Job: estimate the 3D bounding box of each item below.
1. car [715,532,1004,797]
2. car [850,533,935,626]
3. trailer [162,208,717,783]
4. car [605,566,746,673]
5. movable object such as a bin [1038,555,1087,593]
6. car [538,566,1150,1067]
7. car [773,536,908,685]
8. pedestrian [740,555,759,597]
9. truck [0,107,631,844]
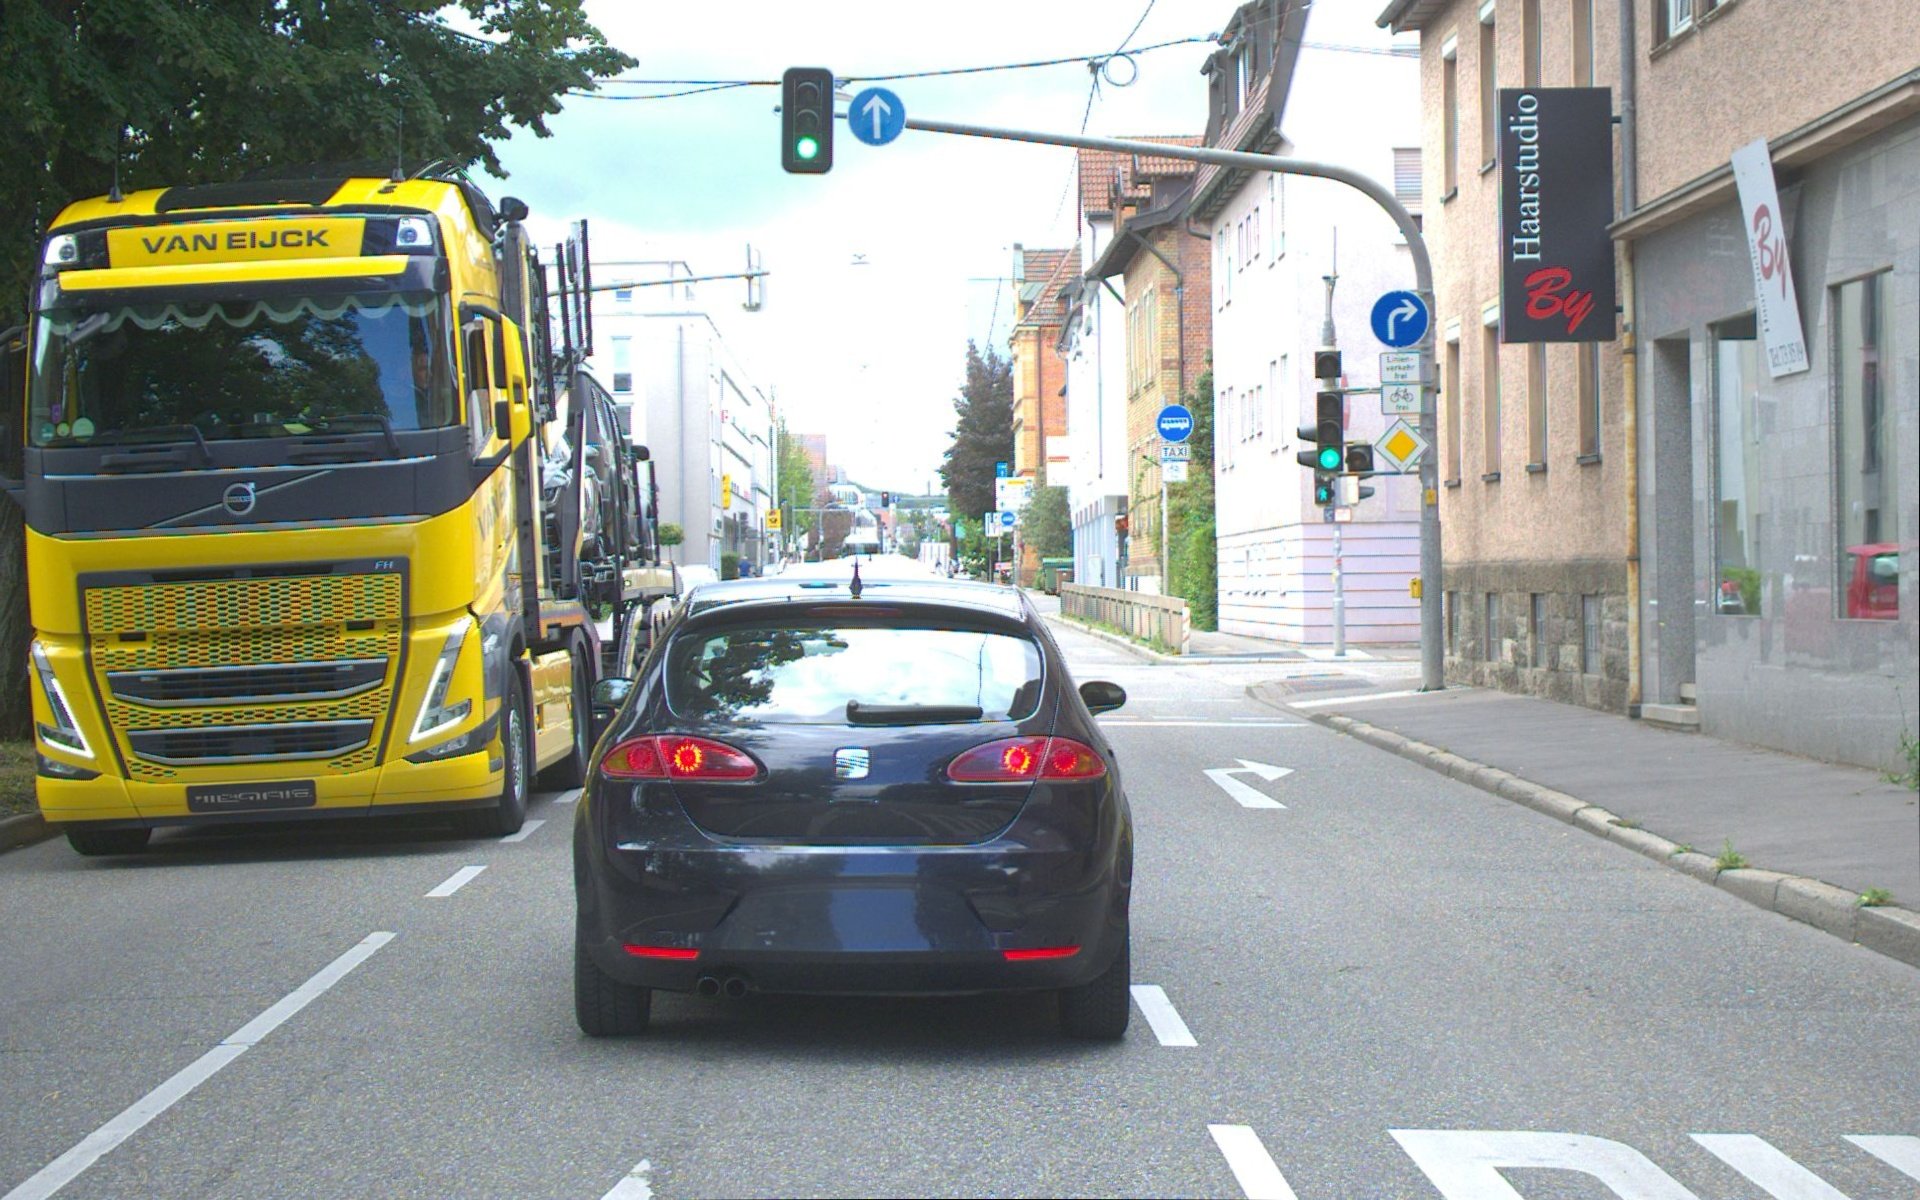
[{"bbox_3d":[-0.691,0.404,24.022,1.842,1.687,4.000,0,0,-1],"label":"car"},{"bbox_3d":[-1.277,-0.384,64.770,1.531,1.687,3.693,0,0,-1],"label":"car"},{"bbox_3d":[-3.963,-0.720,30.030,2.858,3.795,14.392,0,0,-1],"label":"trailer"},{"bbox_3d":[-4.308,0.274,52.671,1.767,1.465,4.227,-3,0,-1],"label":"car"},{"bbox_3d":[3.971,-1.011,133.240,1.818,1.432,1.993,0,0,0],"label":"movable object such as a bin"},{"bbox_3d":[-0.372,0.620,11.951,1.759,1.437,4.000,0,0,-1],"label":"car"},{"bbox_3d":[-1.407,0.116,41.086,1.531,1.687,3.693,0,0,-1],"label":"car"},{"bbox_3d":[-8.680,-0.988,141.819,0.730,1.723,0.859,0,0,-2],"label":"pedestrian"},{"bbox_3d":[-3.831,-0.655,21.513,2.843,3.769,7.669,0,0,0],"label":"truck"}]
